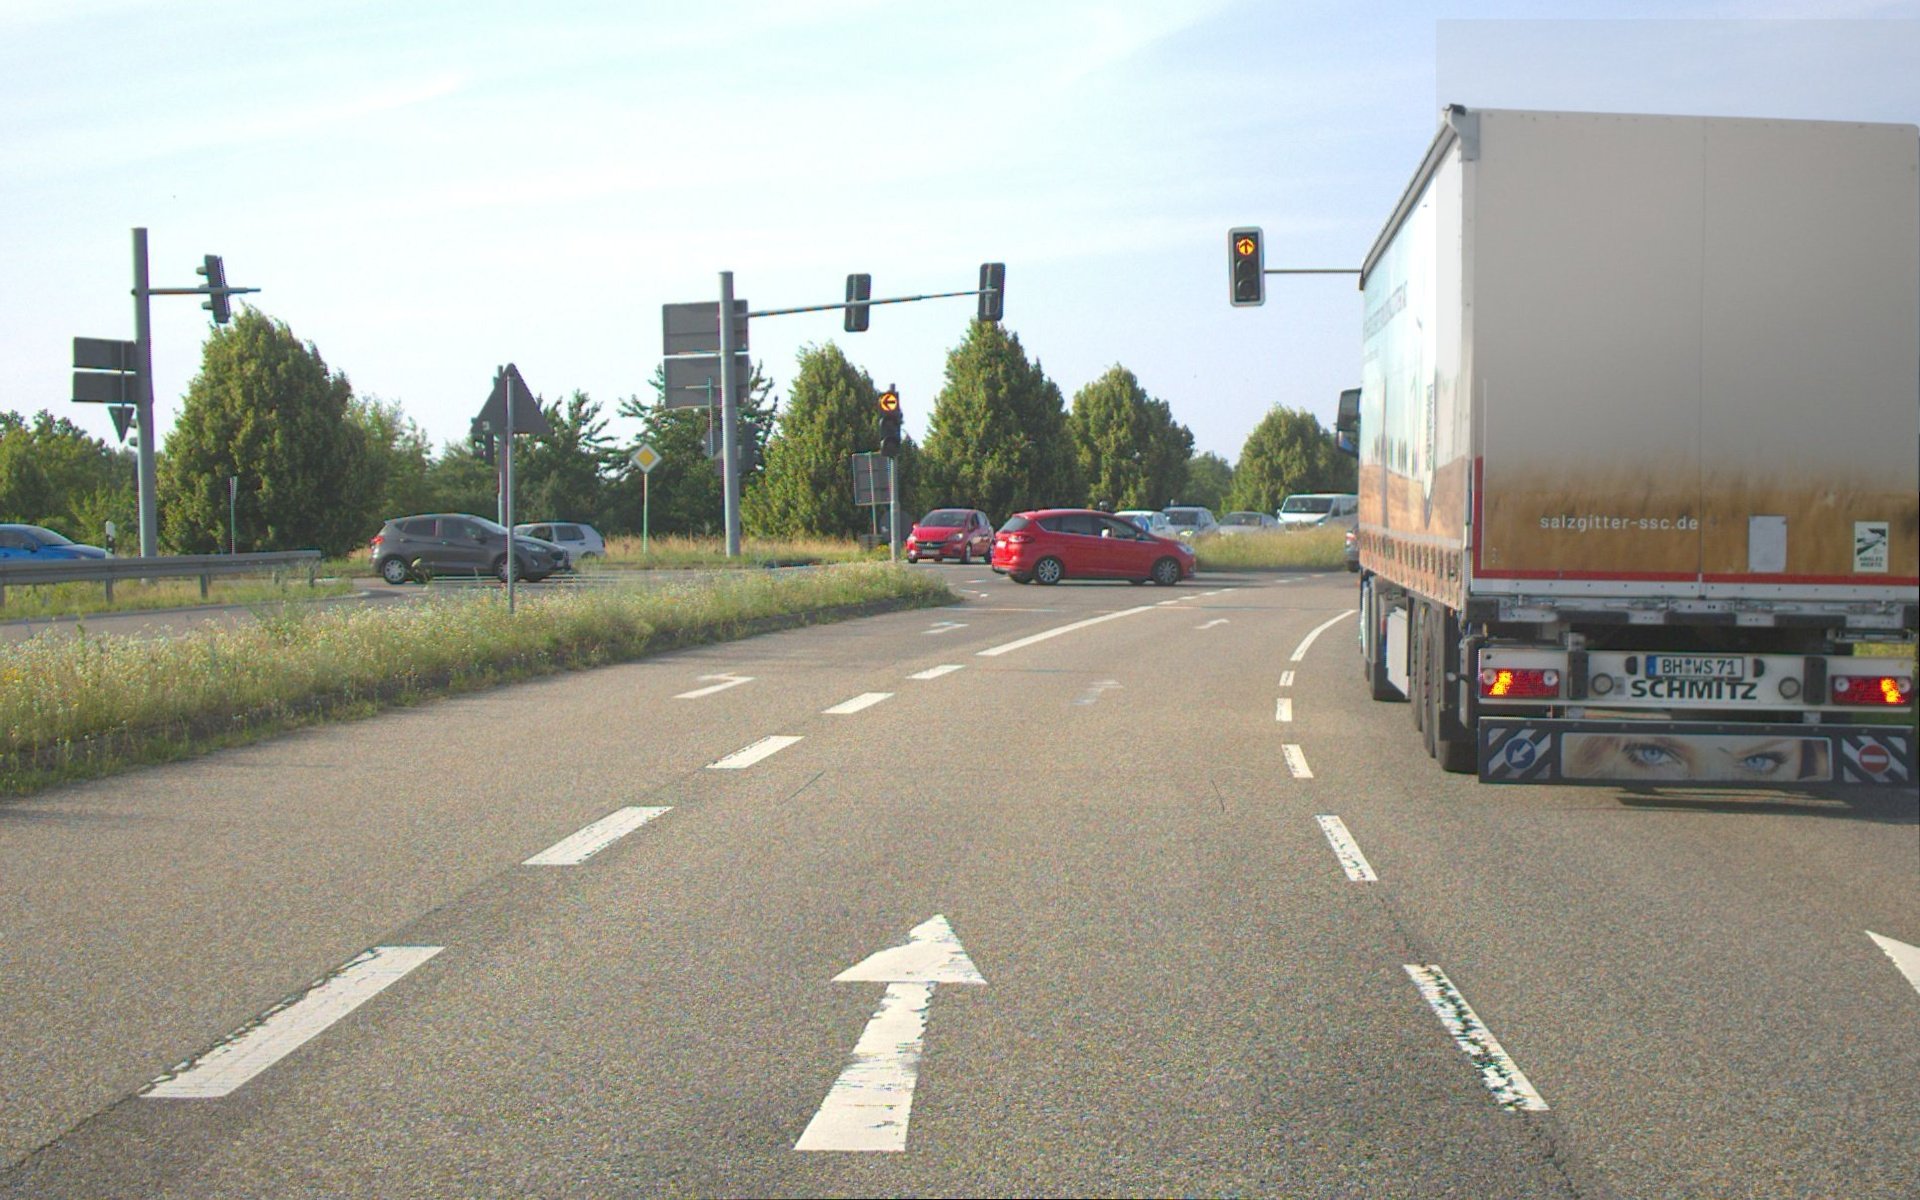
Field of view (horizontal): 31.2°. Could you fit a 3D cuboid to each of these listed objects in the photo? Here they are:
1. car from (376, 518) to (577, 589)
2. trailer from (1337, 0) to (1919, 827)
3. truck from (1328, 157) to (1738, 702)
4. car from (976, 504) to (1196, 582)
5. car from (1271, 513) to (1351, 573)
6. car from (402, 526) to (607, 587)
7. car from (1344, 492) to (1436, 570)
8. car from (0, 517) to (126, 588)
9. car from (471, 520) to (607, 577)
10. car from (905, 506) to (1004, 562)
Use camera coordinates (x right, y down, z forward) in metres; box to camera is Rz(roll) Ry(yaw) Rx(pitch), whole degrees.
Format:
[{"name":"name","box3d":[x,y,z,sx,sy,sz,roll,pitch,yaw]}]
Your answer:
[{"name":"car","box3d":[-10.102,-0.967,71.998,3.784,1.411,1.920,1,0,7]},{"name":"trailer","box3d":[4.524,-1.323,24.520,3.282,4.665,13.146,1,1,5]},{"name":"truck","box3d":[5.213,-1.532,32.374,3.301,4.641,5.731,1,1,5]},{"name":"car","box3d":[2.661,-1.201,72.882,4.262,1.559,1.902,1,0,-17]},{"name":"car","box3d":[12.348,-2.005,120.802,1.927,2.071,4.239,0,1,19]},{"name":"car","box3d":[-10.473,-1.000,79.131,4.266,1.318,1.914,1,0,14]},{"name":"car","box3d":[11.190,-1.772,89.280,1.910,1.909,4.275,1,0,13]},{"name":"car","box3d":[-20.257,-1.047,74.318,3.974,1.487,1.778,1,2,13]},{"name":"car","box3d":[-11.244,-1.384,91.798,3.183,1.487,1.779,0,2,-26]},{"name":"car","box3d":[-0.124,-1.818,94.237,1.722,1.483,3.801,0,1,16]}]
